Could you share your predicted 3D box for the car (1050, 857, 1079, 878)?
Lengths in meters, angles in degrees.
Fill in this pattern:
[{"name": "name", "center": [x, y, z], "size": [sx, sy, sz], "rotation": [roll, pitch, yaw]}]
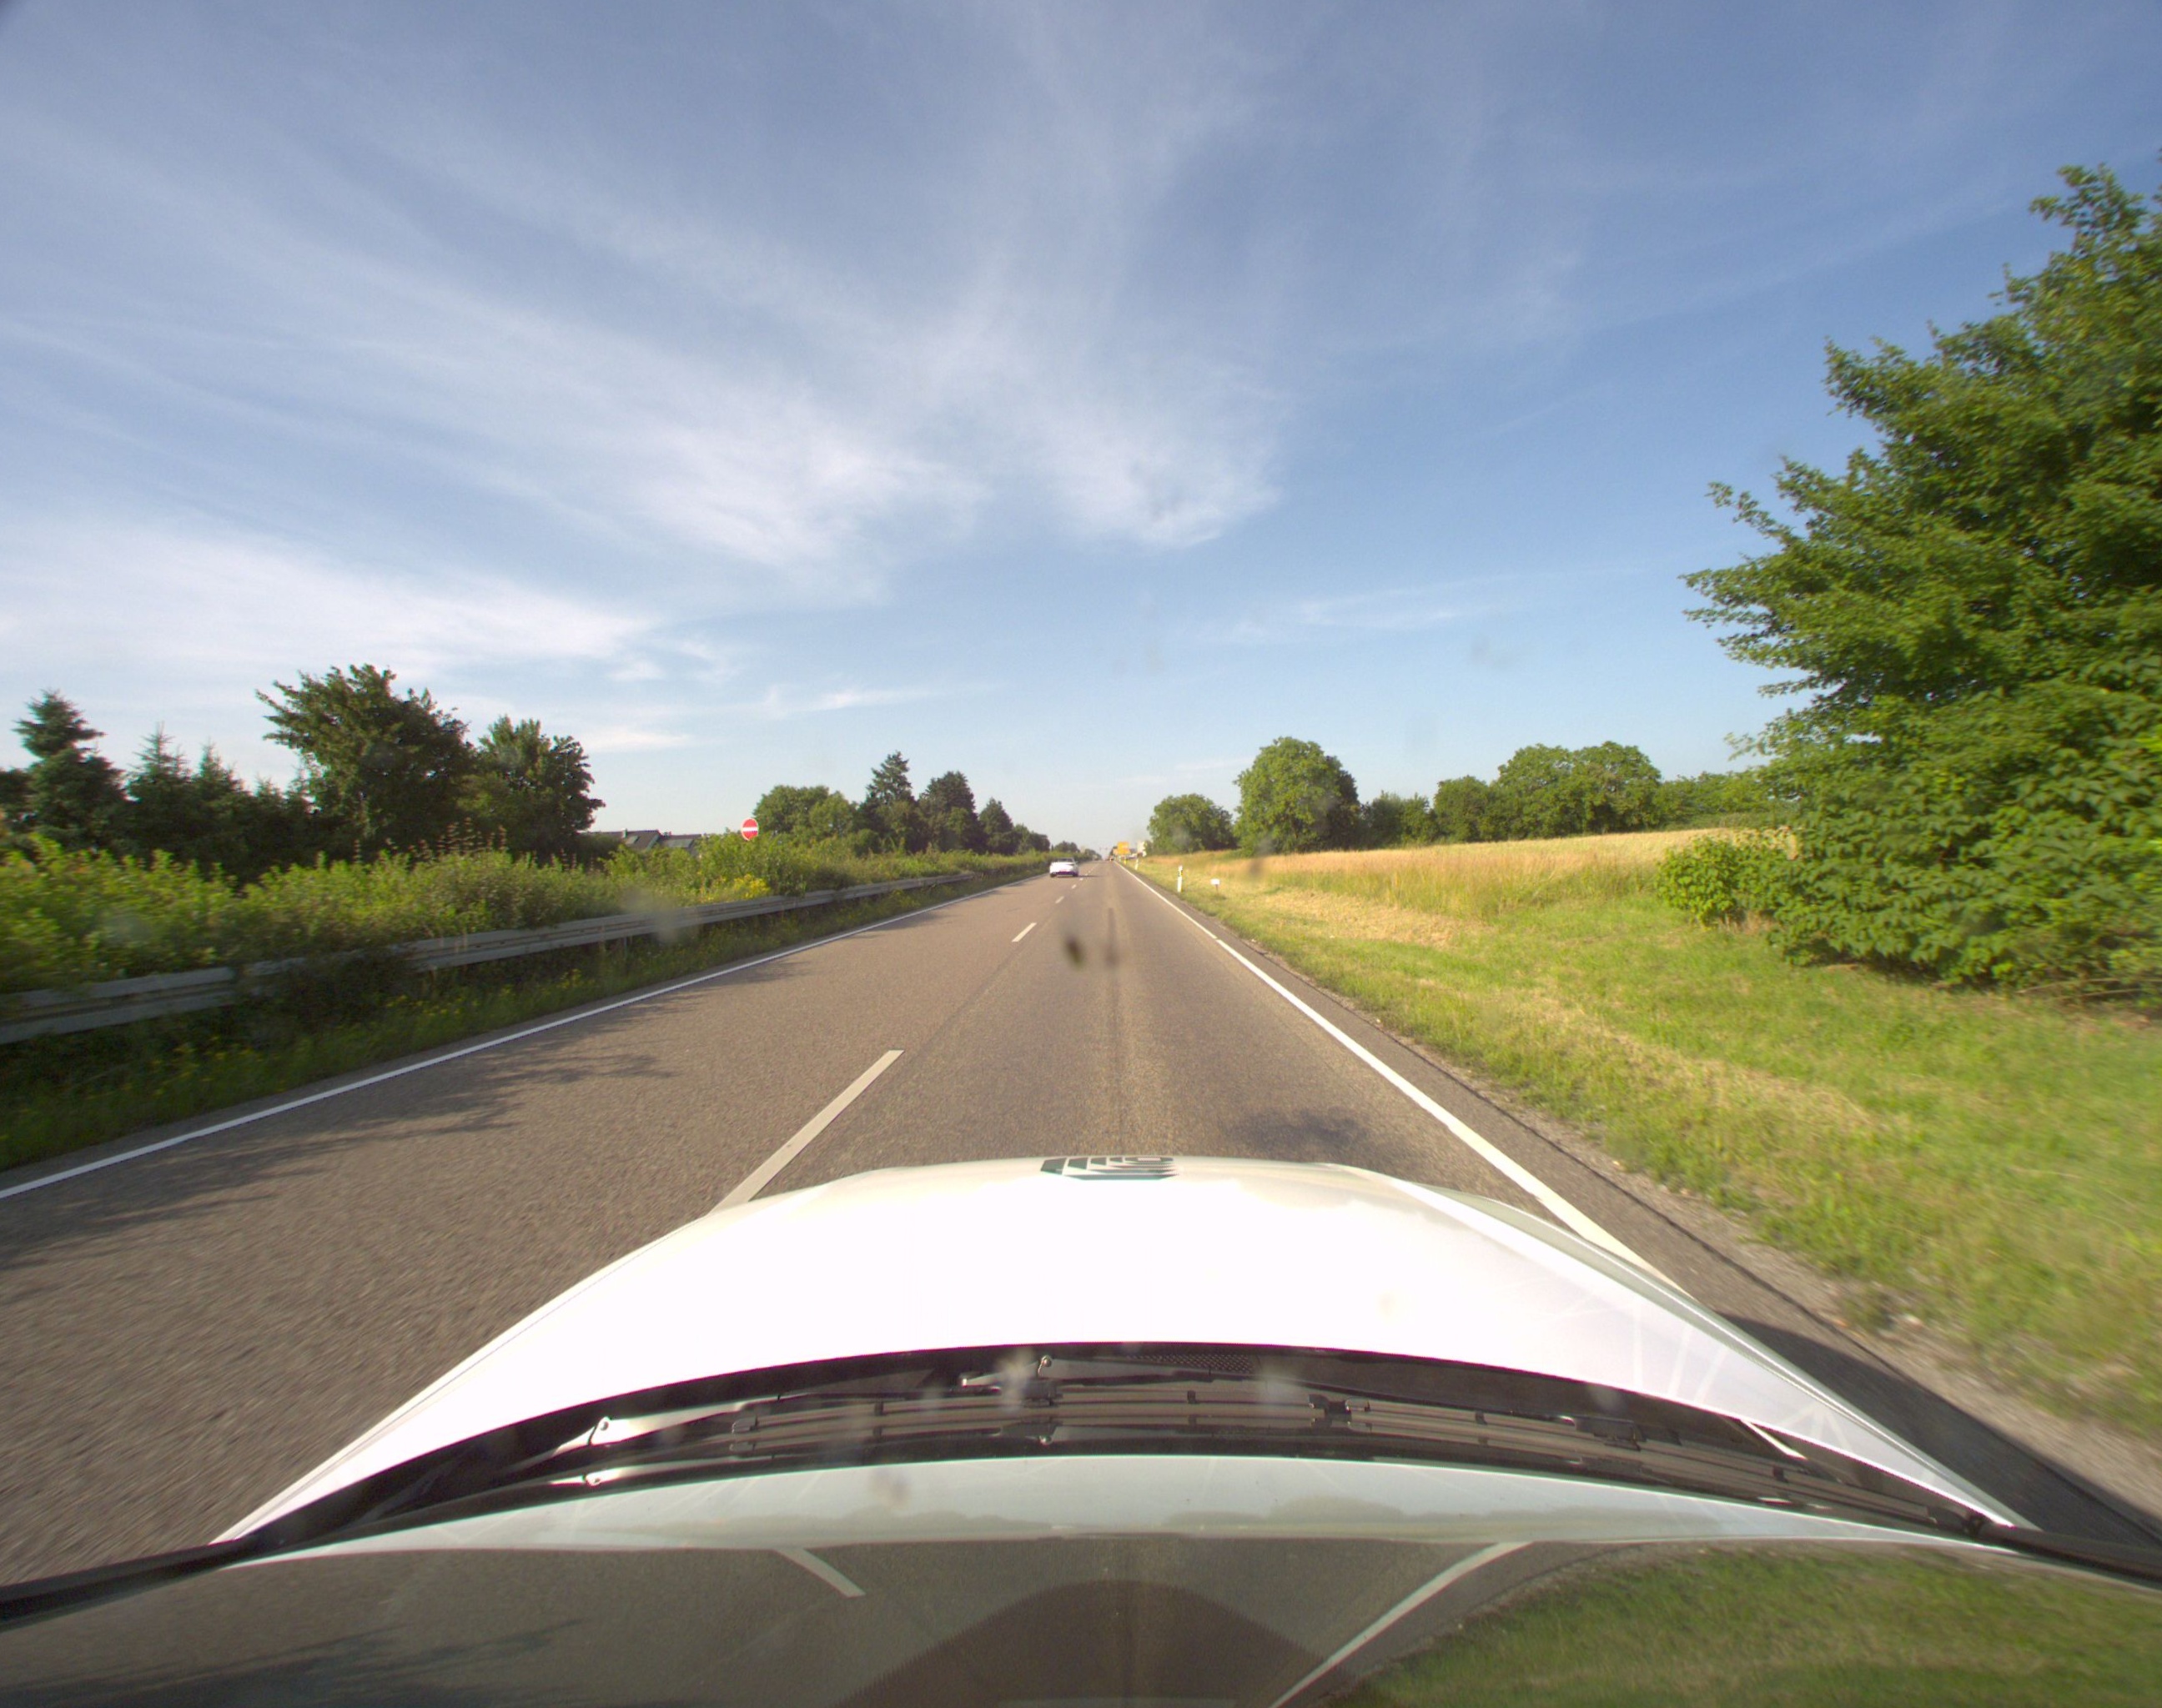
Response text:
[{"name": "car", "center": [-1.161, 0.910, 58.084], "size": [1.903, 1.422, 4.001], "rotation": [-1, 0, 1]}]
